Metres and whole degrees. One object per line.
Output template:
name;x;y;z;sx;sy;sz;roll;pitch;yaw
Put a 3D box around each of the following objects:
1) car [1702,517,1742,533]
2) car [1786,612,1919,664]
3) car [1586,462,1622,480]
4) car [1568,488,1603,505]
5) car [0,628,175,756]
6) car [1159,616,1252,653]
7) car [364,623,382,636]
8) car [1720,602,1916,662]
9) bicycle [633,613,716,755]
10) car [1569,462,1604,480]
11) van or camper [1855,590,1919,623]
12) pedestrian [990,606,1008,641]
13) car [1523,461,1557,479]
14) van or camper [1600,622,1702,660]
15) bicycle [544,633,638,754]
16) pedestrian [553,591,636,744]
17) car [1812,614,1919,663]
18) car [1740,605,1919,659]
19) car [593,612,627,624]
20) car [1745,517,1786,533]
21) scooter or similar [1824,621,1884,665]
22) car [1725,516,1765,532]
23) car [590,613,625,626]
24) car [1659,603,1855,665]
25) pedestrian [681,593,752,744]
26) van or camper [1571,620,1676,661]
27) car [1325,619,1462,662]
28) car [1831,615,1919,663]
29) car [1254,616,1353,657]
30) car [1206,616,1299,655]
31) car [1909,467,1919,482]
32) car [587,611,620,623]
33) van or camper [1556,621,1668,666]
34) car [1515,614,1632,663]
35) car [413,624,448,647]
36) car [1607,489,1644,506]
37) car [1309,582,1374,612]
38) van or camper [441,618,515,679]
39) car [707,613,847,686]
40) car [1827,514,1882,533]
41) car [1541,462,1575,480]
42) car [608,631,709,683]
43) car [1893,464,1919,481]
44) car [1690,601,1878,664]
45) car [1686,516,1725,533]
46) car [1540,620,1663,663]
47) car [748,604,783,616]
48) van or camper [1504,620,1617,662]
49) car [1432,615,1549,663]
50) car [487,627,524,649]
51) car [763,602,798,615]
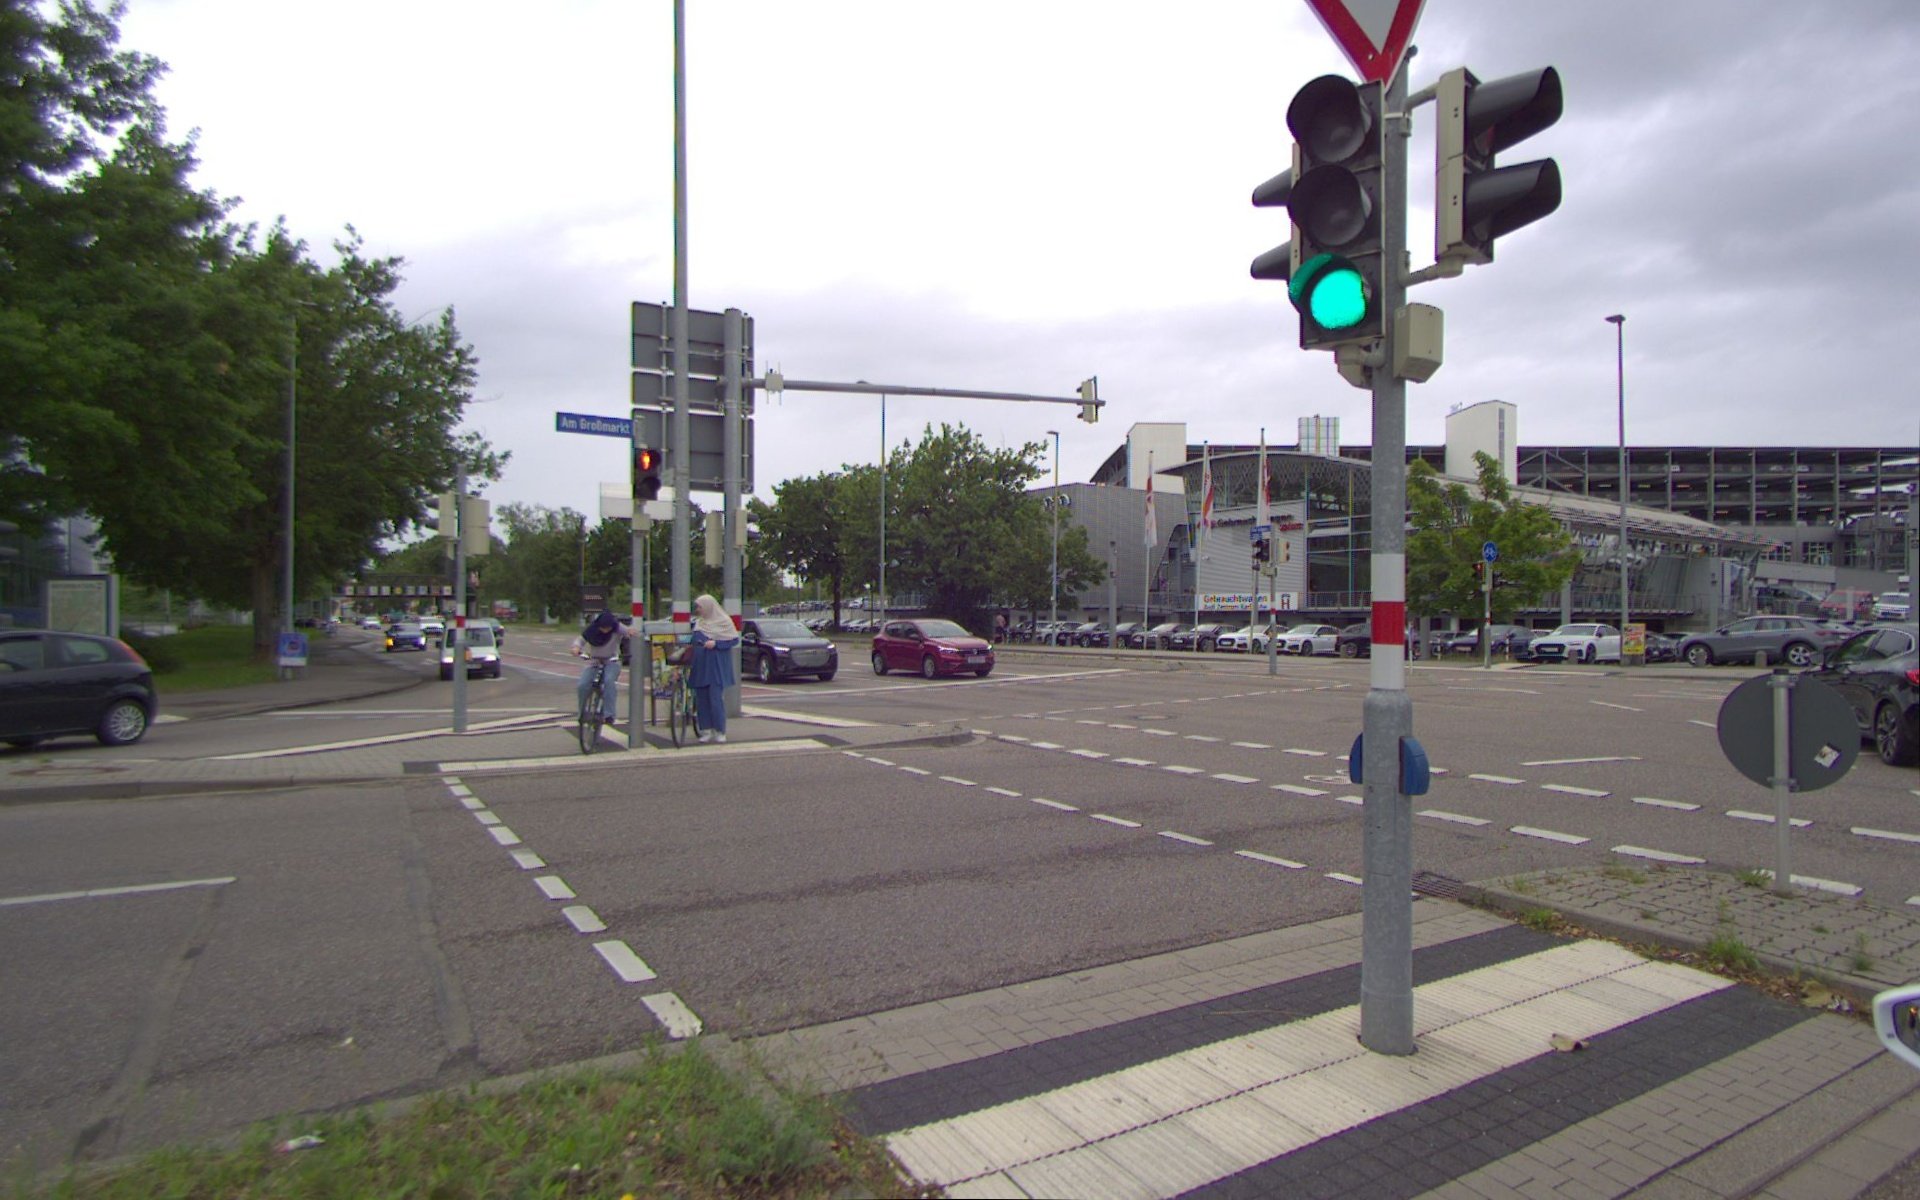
car;95.748;-9.376;126.227;1.960;1.689;4.000;1;0;1
car;37.292;1.590;41.220;1.980;2.040;4.861;2;-3;-35
car;81.026;-16.269;126.399;1.960;1.689;4.000;1;0;1
car;78.511;-12.994;126.166;1.960;1.689;4.000;1;0;1
car;-11.393;1.037;11.289;1.692;1.389;4.003;-1;-1;8
car;11.489;1.613;46.943;4.190;1.505;1.854;5;-3;-34
car;-71.816;3.609;122.815;1.841;1.481;4.296;-1;1;-30
car;30.999;1.203;36.445;2.244;2.040;4.991;2;-3;-35
bicycle;-3.113;0.872;11.084;0.586;1.414;1.932;-1;-1;-7
car;78.661;-16.143;126.177;1.960;1.689;4.000;1;0;1
van or camper;50.884;0.362;54.957;3.960;1.673;1.980;2;0;-35
pedestrian;2.203;1.331;56.595;0.712;1.895;0.667;3;-2;-34
car;73.080;-16.358;126.638;1.960;1.689;4.000;1;0;1
van or camper;35.985;2.109;52.366;1.829;1.734;3.961;2;0;-34
bicycle;-3.956;0.964;10.903;0.499;1.181;1.945;3;-2;-8
pedestrian;-3.931;0.721;10.848;0.642;1.569;0.649;3;-2;-8
car;39.576;1.649;42.639;1.980;2.040;4.861;2;-3;-35
car;32.995;1.270;38.179;2.035;1.900;4.912;2;-4;-37
car;-45.711;2.339;131.127;3.951;1.455;1.717;2;0;-28
car;101.097;-9.406;126.171;1.960;1.689;4.000;1;0;1
scooter or similar;25.855;1.238;29.059;1.535;1.235;0.556;1;2;-17
car;98.659;-9.504;126.328;1.960;1.689;4.000;1;0;1
car;-44.988;2.526;128.163;3.951;1.455;1.717;2;0;-28
car;26.376;1.165;33.427;1.980;1.887;4.741;2;-3;-35
pedestrian;-2.732;0.760;11.322;0.628;1.648;0.692;0;-2;0
van or camper;33.347;2.022;50.570;1.829;1.840;3.961;2;0;-34
car;17.034;1.566;39.720;1.874;1.505;4.711;5;-3;-33
car;41.849;1.740;44.293;1.980;2.040;4.861;2;-3;-35
car;14.609;1.540;42.654;4.156;1.505;1.835;5;-3;-34
car;13.039;1.579;44.682;4.004;1.505;1.859;5;-3;-34
car;122.370;-15.985;126.451;1.960;1.689;4.000;1;0;1
car;-47.164;2.248;132.957;3.951;1.455;1.717;2;0;-28
van or camper;30.507;2.021;47.081;1.829;1.840;3.961;2;0;-34
car;20.789;1.330;34.001;4.187;1.505;1.857;4;-3;-34
car;-43.236;2.874;82.002;1.979;1.616;4.533;-3;2;-34
car;83.403;-12.807;125.941;1.960;1.689;4.000;1;0;1
car;22.950;-0.172;60.381;3.962;1.684;1.807;2;0;-36
van or camper;-15.086;1.519;31.482;1.973;1.744;4.367;0;-3;-26
car;-4.837;1.226;26.160;1.868;1.659;4.289;-3;1;-36
car;113.591;-9.703;127.646;2.168;1.971;5.329;1;0;-2
car;75.471;-16.265;126.799;1.960;1.689;4.000;1;0;1
car;-10.254;1.858;33.917;1.868;1.565;4.552;-1;-1;-36
car;120.180;-16.020;126.400;1.960;1.689;4.000;1;0;1
car;28.483;1.167;34.858;1.980;2.040;4.671;2;-3;-35
car;93.585;-9.457;126.076;1.960;1.689;4.000;1;0;1
car;31.516;1.986;49.499;1.979;1.965;4.773;1;-1;-33
car;-25.368;1.338;130.873;4.173;1.455;1.712;2;0;-36
van or camper;27.514;1.844;46.120;1.980;1.700;3.961;2;0;-34
car;19.223;1.450;36.322;4.475;1.505;2.049;5;-4;-36
car;-34.624;2.859;76.499;1.844;1.481;4.290;-1;1;-34
car;-22.602;1.077;126.547;4.060;1.455;1.712;2;0;-36
